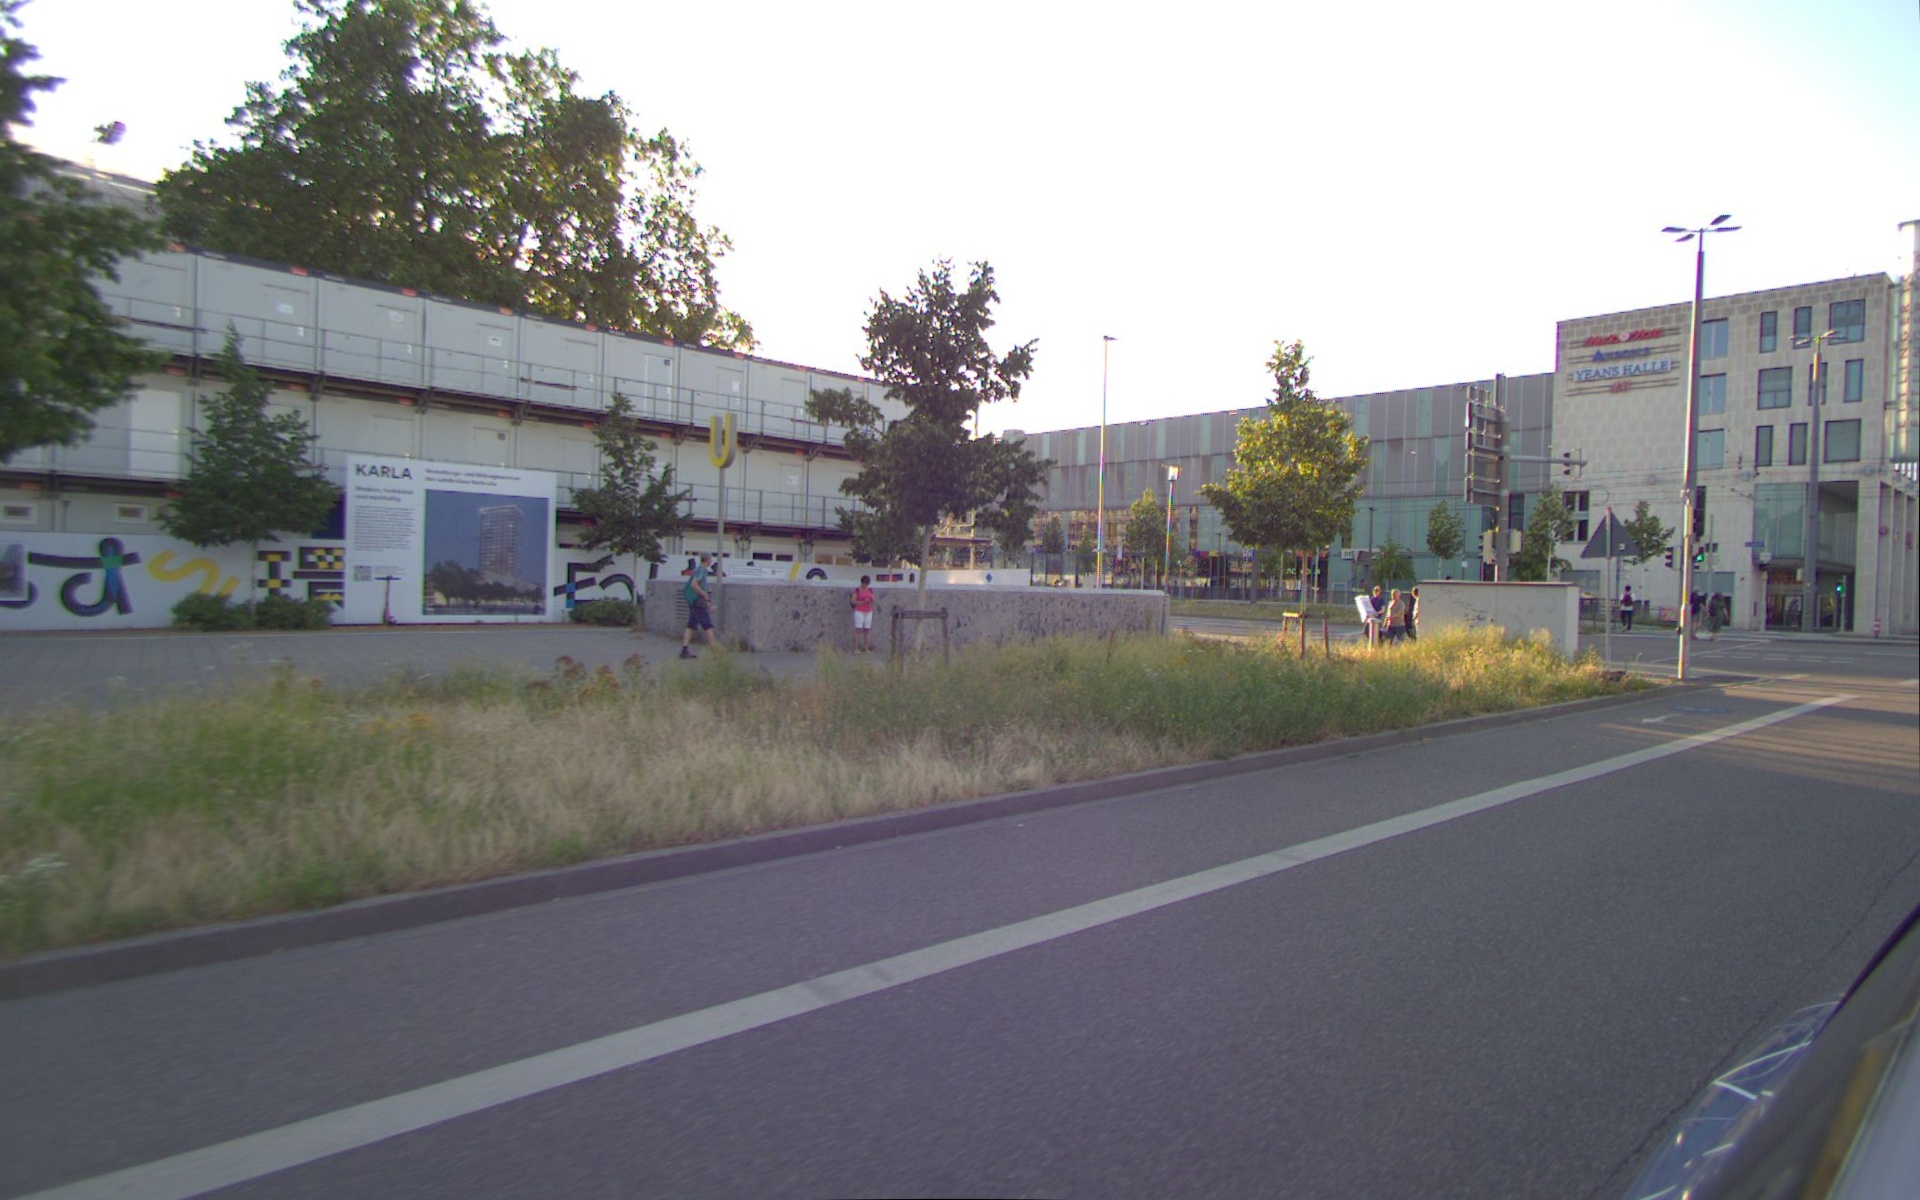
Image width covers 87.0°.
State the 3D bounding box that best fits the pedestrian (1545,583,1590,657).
[{"bbox_3d":[14.085,0.454,23.460,0.856,1.648,0.643,2,1,-43],"label":"pedestrian"}]

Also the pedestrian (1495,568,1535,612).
[{"bbox_3d":[23.075,-0.411,42.085,0.986,1.744,0.873,1,4,-13],"label":"pedestrian"}]

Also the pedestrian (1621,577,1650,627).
[{"bbox_3d":[25.588,0.065,38.353,0.855,1.835,0.644,0,2,-37],"label":"pedestrian"}]

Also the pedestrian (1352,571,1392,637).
[{"bbox_3d":[11.124,0.098,27.304,0.748,1.734,0.645,2,1,-35],"label":"pedestrian"}]

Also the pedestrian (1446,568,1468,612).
[{"bbox_3d":[21.414,-0.444,43.629,0.575,1.877,0.604,0,1,-36],"label":"pedestrian"}]

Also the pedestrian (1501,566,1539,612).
[{"bbox_3d":[23.818,-0.469,43.075,0.985,1.876,0.896,0,4,-27],"label":"pedestrian"}]

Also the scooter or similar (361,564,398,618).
[{"bbox_3d":[-13.801,-0.226,24.038,0.466,1.235,1.572,0,2,-41],"label":"scooter or similar"}]

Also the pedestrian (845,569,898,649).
[{"bbox_3d":[-1.730,0.164,19.717,0.633,1.509,0.761,3,0,-40],"label":"pedestrian"}]

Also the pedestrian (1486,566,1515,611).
[{"bbox_3d":[23.504,-0.529,44.038,0.882,1.876,0.723,3,4,17],"label":"pedestrian"}]

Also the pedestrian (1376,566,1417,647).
[{"bbox_3d":[10.713,0.145,24.842,0.608,1.957,0.644,0,1,-37],"label":"pedestrian"}]

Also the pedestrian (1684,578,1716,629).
[{"bbox_3d":[25.605,0.113,35.004,0.855,1.752,0.644,0,1,-37],"label":"pedestrian"}]

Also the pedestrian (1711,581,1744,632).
[{"bbox_3d":[26.026,0.217,34.332,0.855,1.680,0.644,0,1,-37],"label":"pedestrian"}]

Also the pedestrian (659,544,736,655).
[{"bbox_3d":[-4.504,-0.006,17.354,1.026,1.838,0.817,2,1,-34],"label":"pedestrian"}]
